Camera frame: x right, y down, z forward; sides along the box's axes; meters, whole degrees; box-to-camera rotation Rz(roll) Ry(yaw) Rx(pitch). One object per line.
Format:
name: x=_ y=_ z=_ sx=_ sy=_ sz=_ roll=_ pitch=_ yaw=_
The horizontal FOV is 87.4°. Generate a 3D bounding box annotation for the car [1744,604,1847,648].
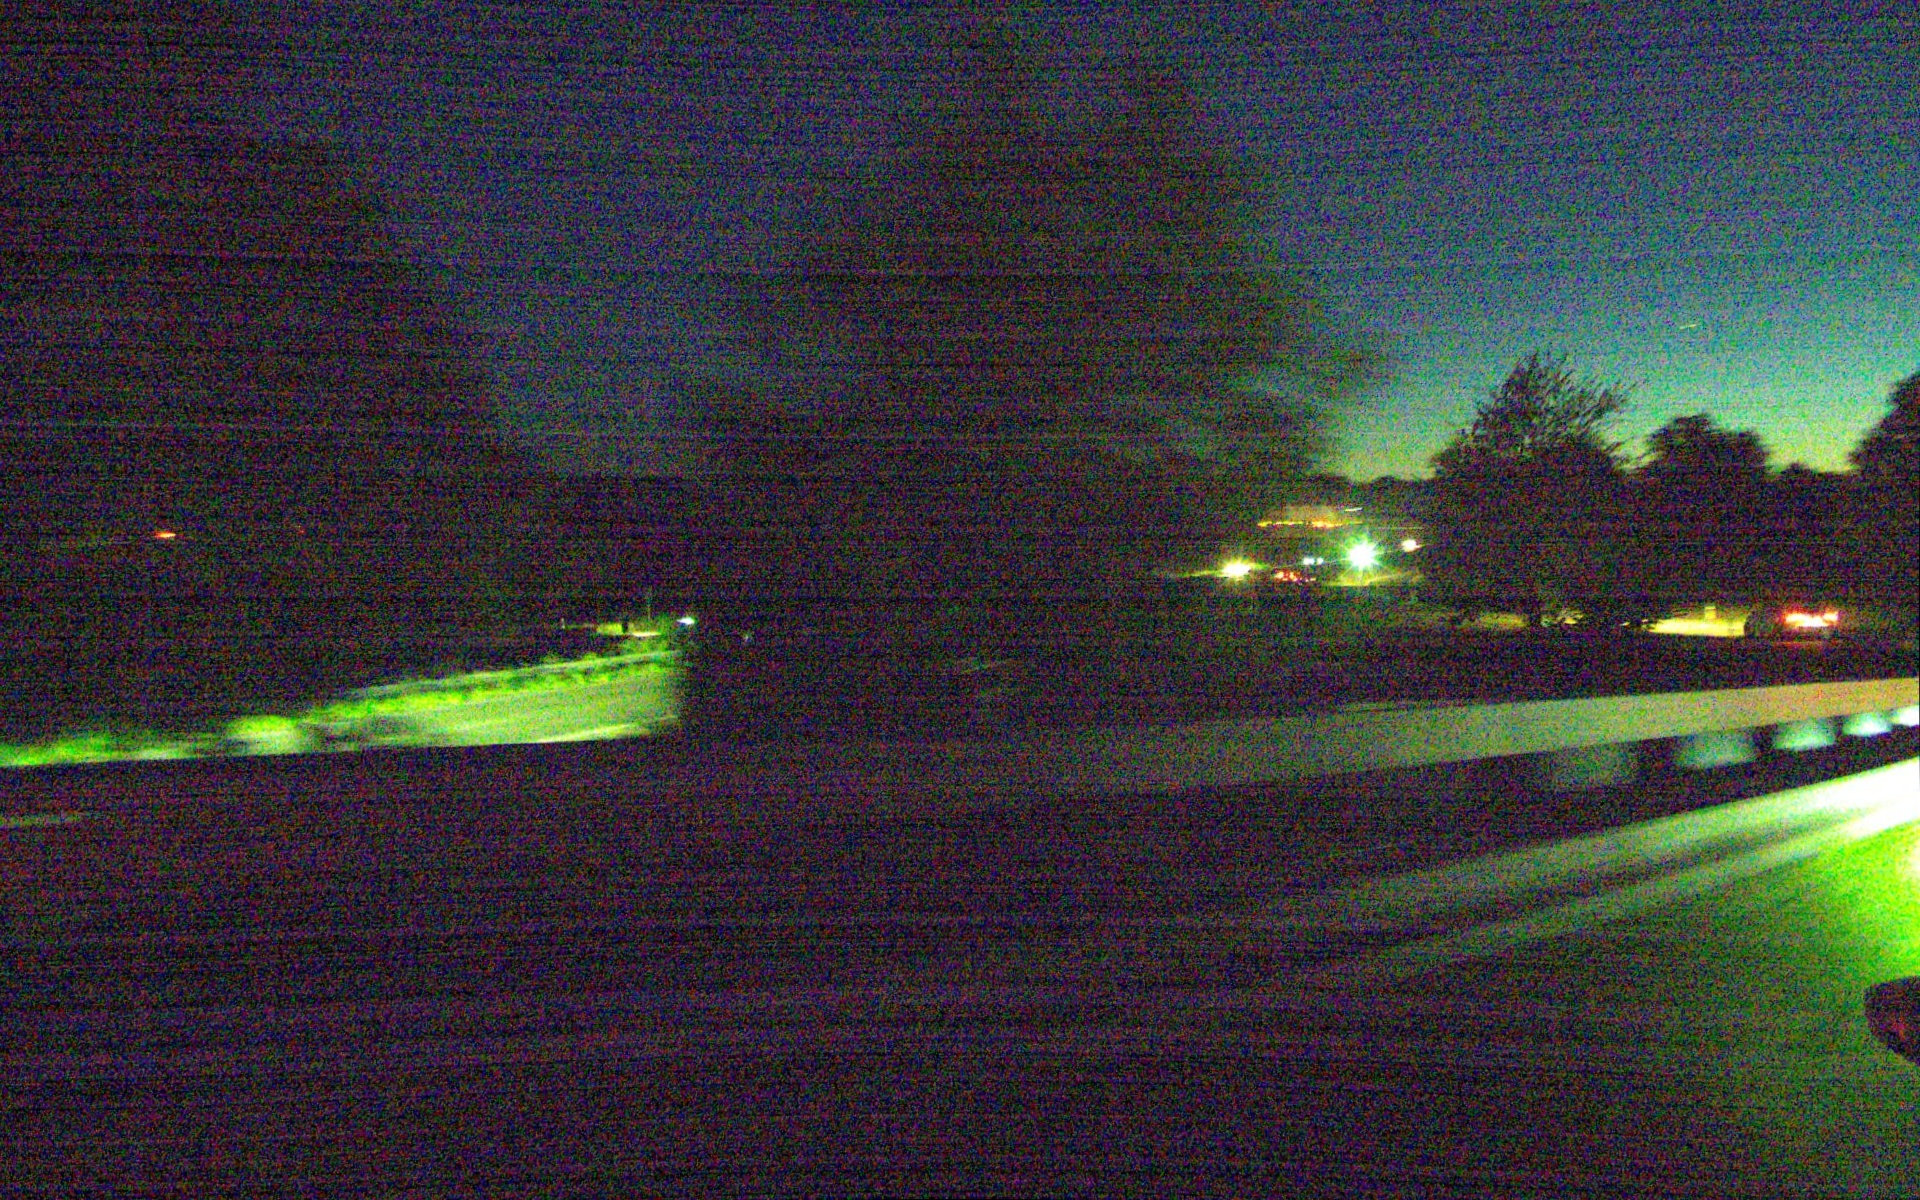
car: x=35.152 y=1.052 z=42.410 sx=1.919 sy=1.558 sz=4.241 roll=-2 pitch=1 yaw=19
